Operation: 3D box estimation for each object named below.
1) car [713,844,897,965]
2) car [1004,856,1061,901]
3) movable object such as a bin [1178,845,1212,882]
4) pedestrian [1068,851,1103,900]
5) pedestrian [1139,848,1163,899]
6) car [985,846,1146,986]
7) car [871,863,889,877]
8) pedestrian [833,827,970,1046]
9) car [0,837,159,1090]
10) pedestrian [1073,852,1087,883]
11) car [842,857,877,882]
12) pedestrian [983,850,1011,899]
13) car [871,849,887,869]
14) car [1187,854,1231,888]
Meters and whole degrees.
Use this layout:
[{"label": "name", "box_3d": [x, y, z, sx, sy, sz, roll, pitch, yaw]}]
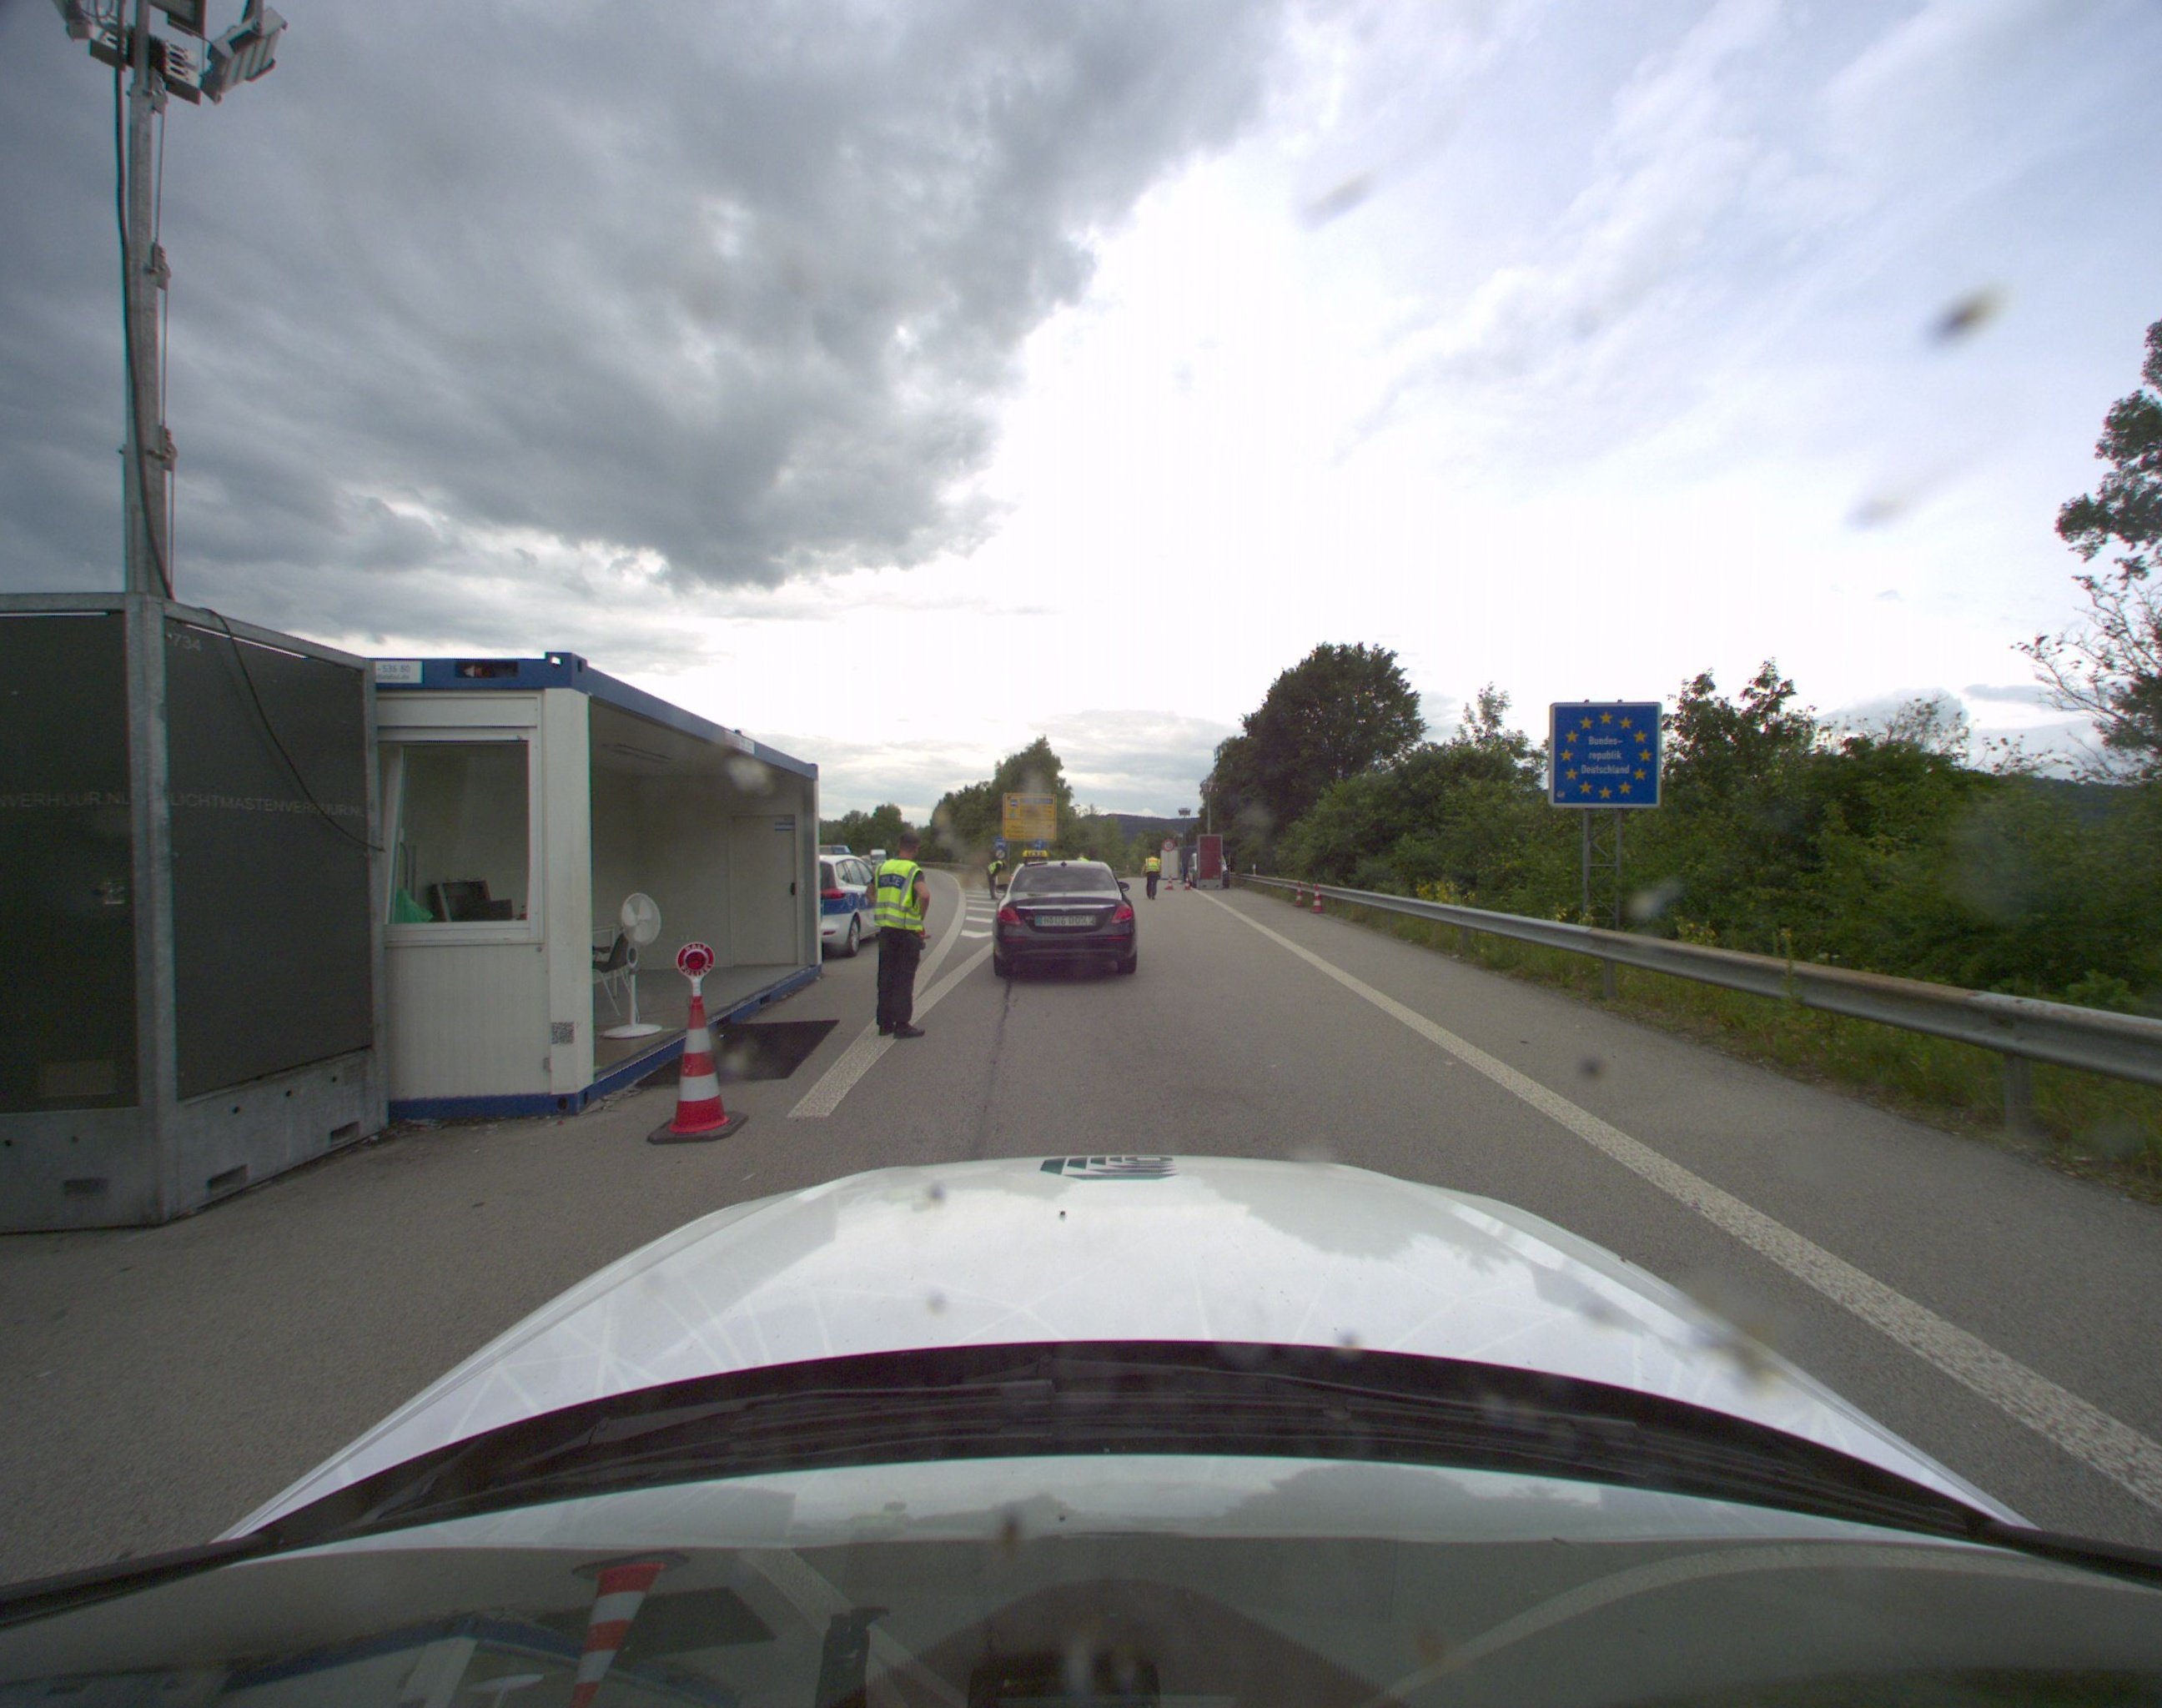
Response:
[{"label": "car", "box_3d": [-4.507, 0.750, 13.963, 1.864, 1.743, 4.005, -1, 0, -2]}, {"label": "car", "box_3d": [-1.692, 0.836, 29.714, 1.850, 1.498, 4.255, -1, 0, -1]}, {"label": "movable object such as a bin", "box_3d": [7.416, 0.610, 53.333, 1.984, 2.280, 4.173, -1, 0, 4]}, {"label": "pedestrian", "box_3d": [0.152, 0.759, 28.804, 0.914, 1.698, 0.905, 0, -1, -30]}, {"label": "pedestrian", "box_3d": [2.547, 0.702, 29.743, 0.809, 1.830, 0.810, -1, -1, 1]}, {"label": "car", "box_3d": [-0.309, 0.724, 11.682, 1.851, 1.595, 4.369, -1, 0, -4]}, {"label": "car", "box_3d": [-21.127, 1.643, 85.717, 1.854, 1.463, 3.982, 0, -1, -13]}, {"label": "pedestrian", "box_3d": [-1.528, 0.653, 6.962, 0.752, 1.718, 0.823, -2, -1, 39]}, {"label": "car", "box_3d": [-8.348, 0.766, 4.554, 1.864, 1.743, 4.005, -1, 0, -2]}, {"label": "pedestrian", "box_3d": [-0.057, 0.882, 53.046, 0.659, 1.961, 0.763, -1, -1, 18]}, {"label": "car", "box_3d": [-14.362, 0.974, 52.965, 1.856, 1.498, 4.241, -1, 0, -11]}, {"label": "pedestrian", "box_3d": [-3.081, 0.736, 29.833, 0.908, 1.769, 0.911, -1, 0, -1]}, {"label": "car", "box_3d": [-24.115, 0.592, 97.328, 1.858, 2.222, 4.236, -1, 0, -14]}, {"label": "car", "box_3d": [6.937, 0.881, 44.493, 1.908, 1.678, 5.088, 1, 0, 4]}]
